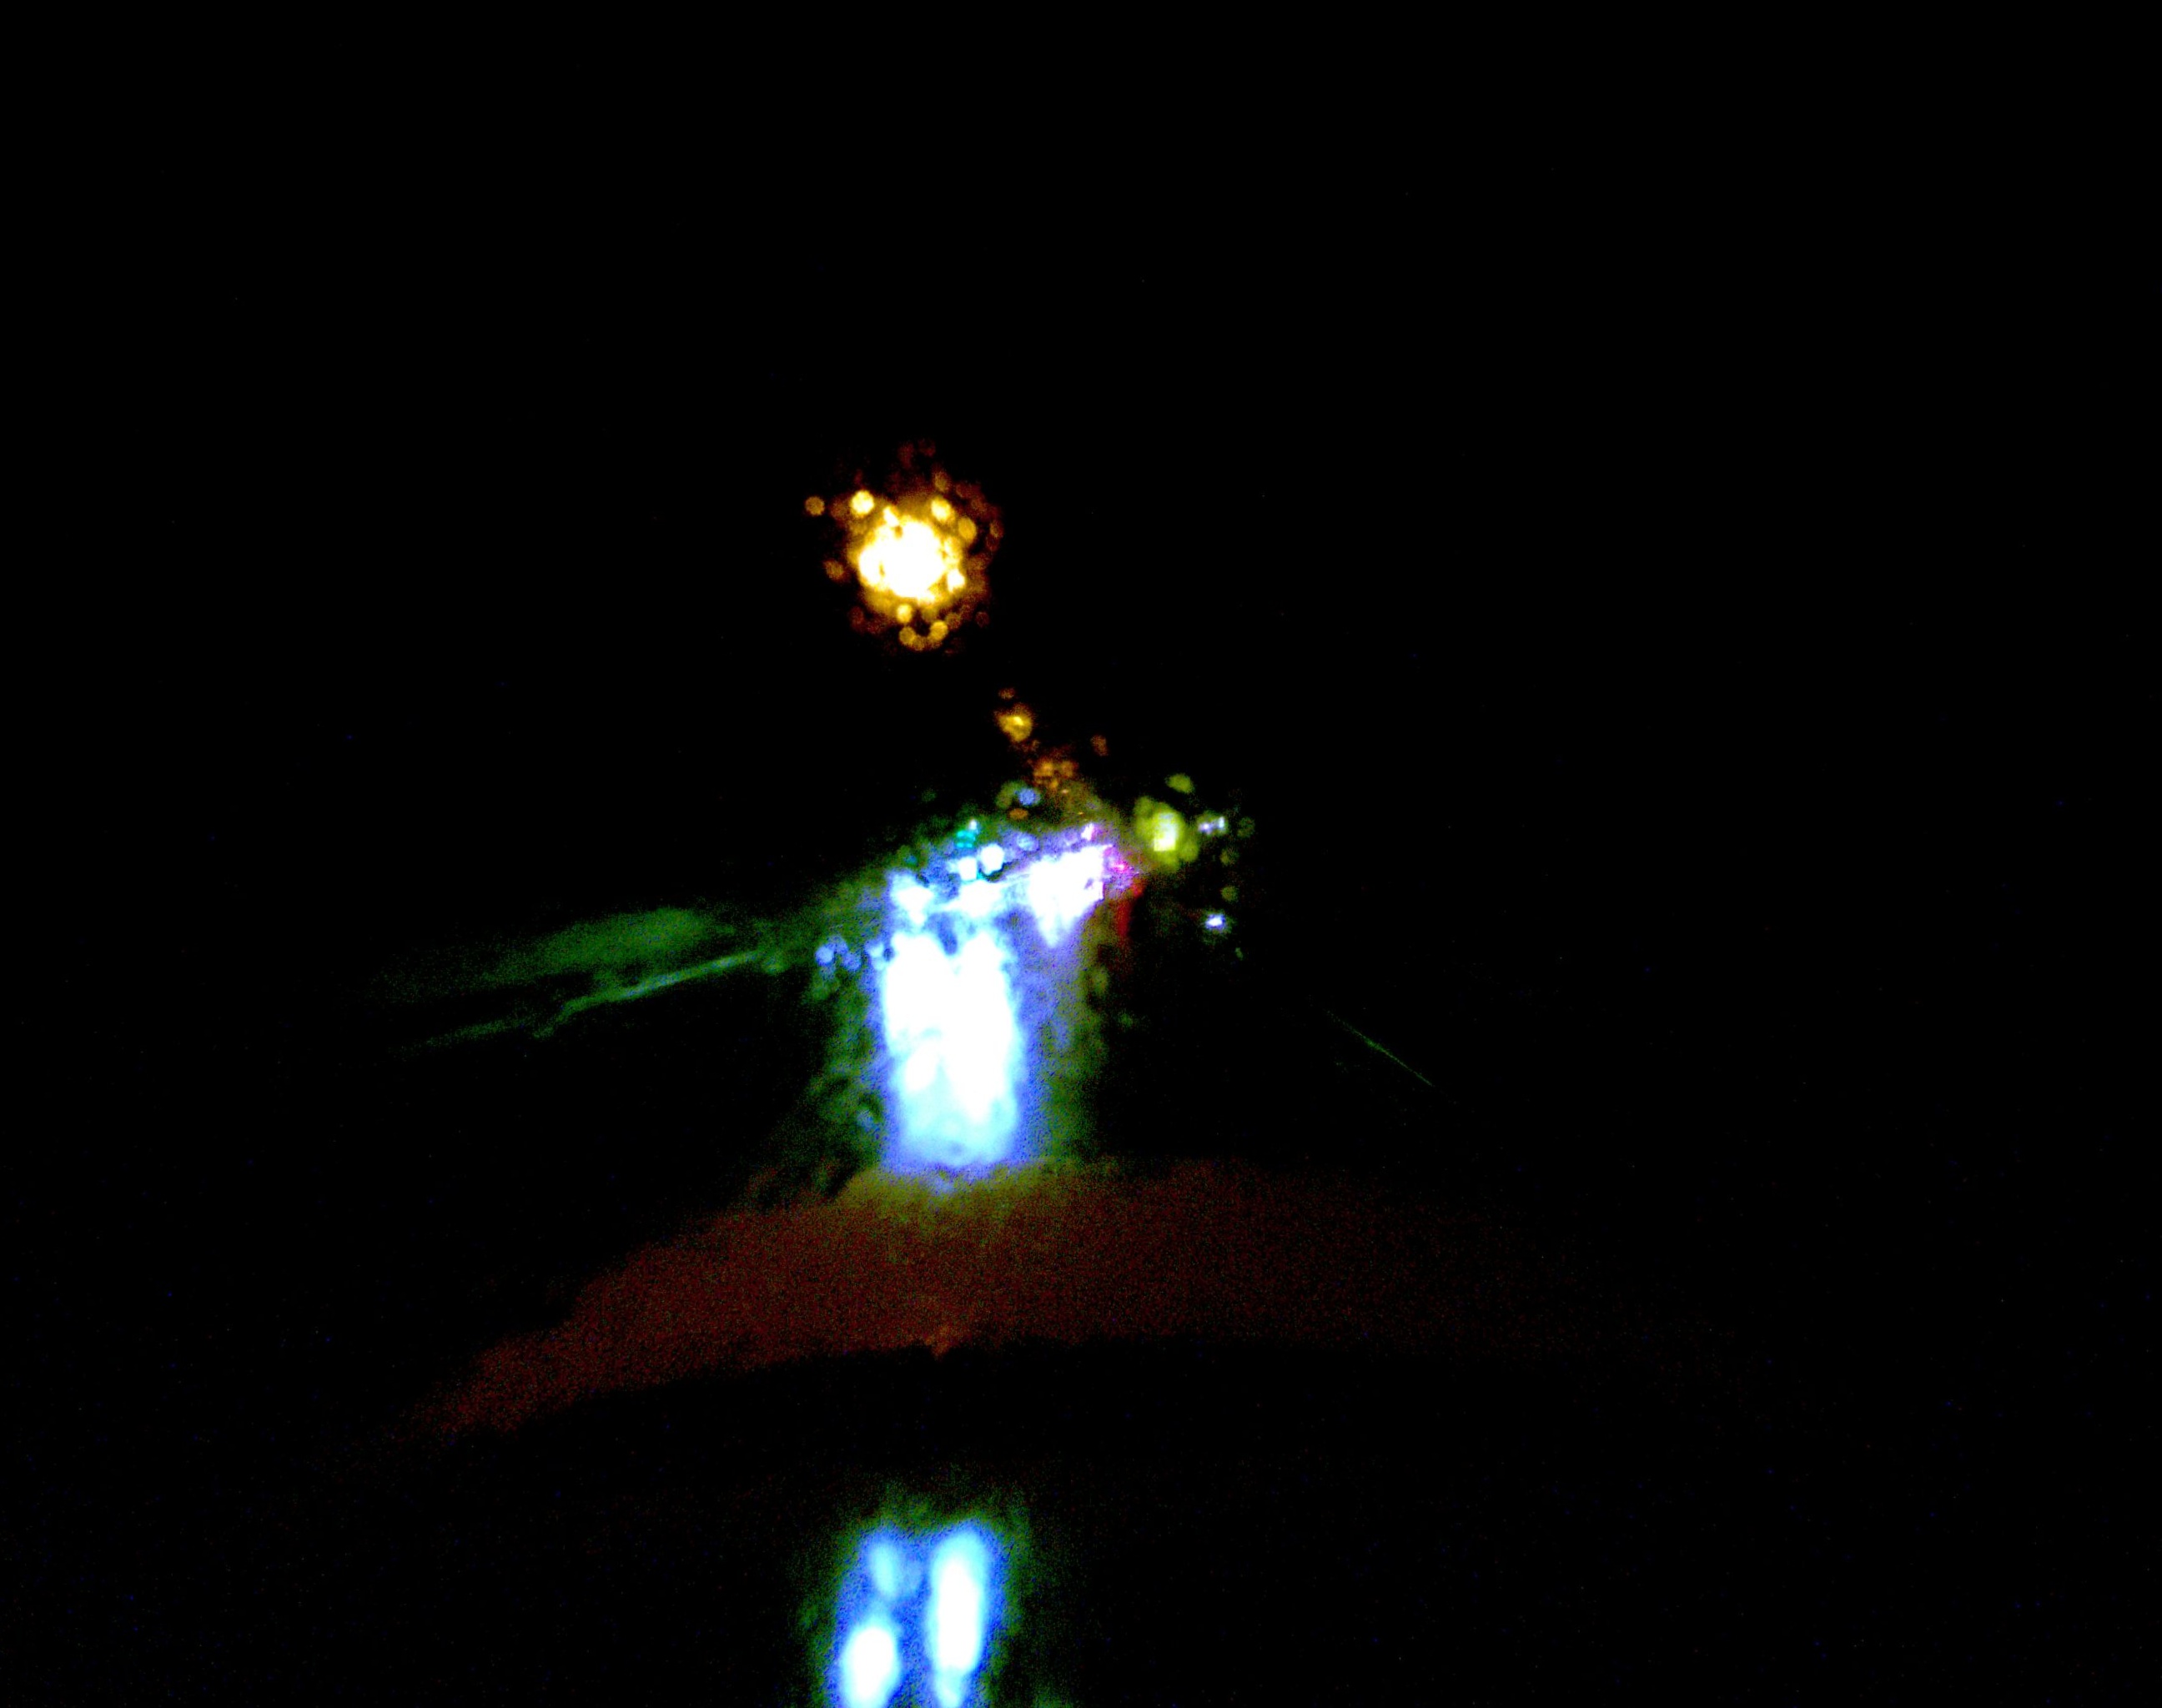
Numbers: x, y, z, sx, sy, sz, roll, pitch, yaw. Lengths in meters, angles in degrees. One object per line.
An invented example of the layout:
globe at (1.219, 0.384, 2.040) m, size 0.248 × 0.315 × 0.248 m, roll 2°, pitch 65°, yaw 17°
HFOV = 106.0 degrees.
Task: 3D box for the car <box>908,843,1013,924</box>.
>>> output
car at (-2.772, 0.637, 19.622) m, size 1.690 × 1.676 × 4.129 m, roll -2°, pitch 0°, yaw 2°

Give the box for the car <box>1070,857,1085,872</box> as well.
car at (-0.337, 1.213, 94.207) m, size 1.514 × 1.549 × 4.056 m, roll -2°, pitch 1°, yaw 2°

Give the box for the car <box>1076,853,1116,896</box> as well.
car at (0.723, 0.865, 36.588) m, size 1.629 × 1.758 × 4.148 m, roll -2°, pitch 0°, yaw 2°

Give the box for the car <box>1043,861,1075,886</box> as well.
car at (-1.399, 1.232, 53.855) m, size 1.742 × 1.480 × 4.478 m, roll -2°, pitch 0°, yaw 2°
